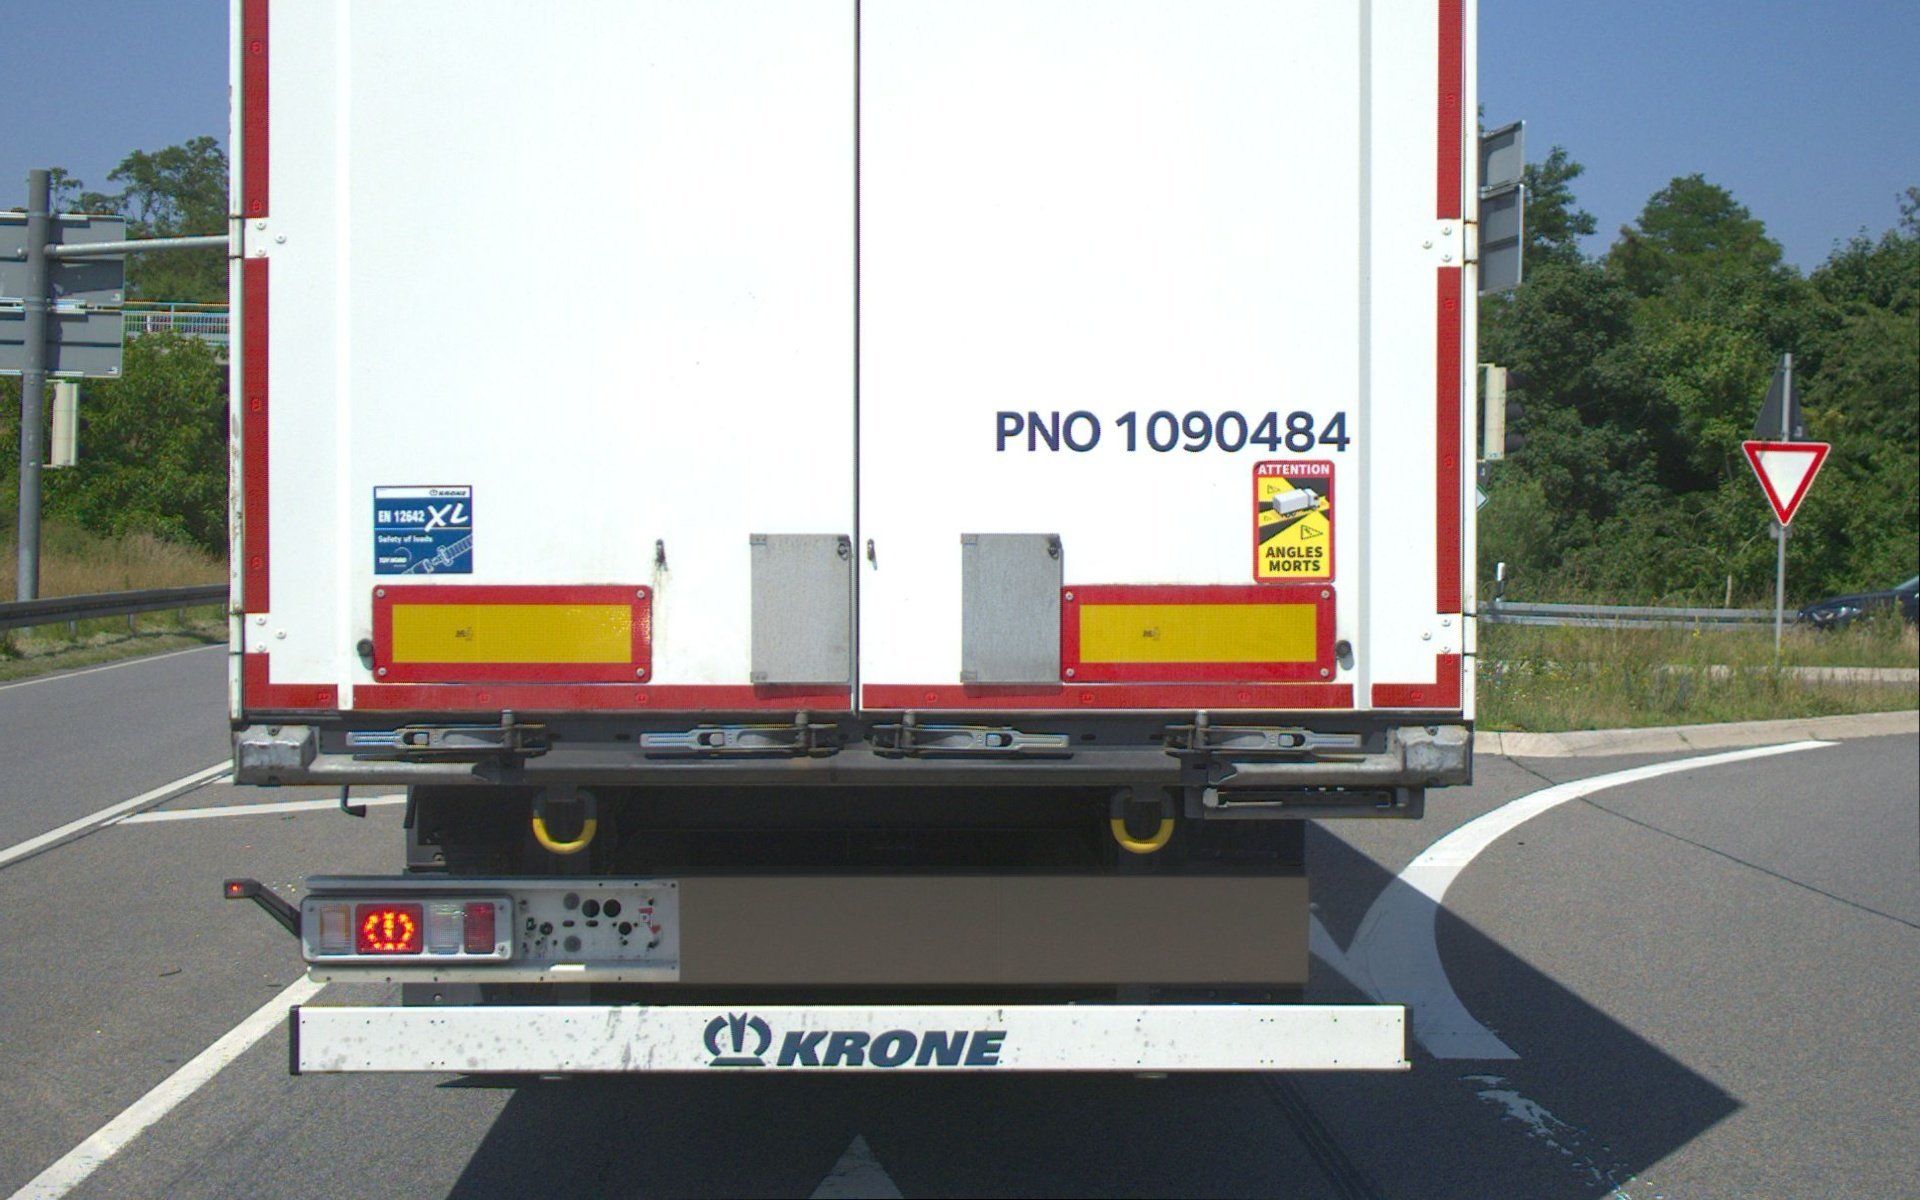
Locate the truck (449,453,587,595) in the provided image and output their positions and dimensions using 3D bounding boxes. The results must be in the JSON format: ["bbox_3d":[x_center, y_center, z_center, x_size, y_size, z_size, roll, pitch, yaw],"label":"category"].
[{"bbox_3d":[-11.443,-1.920,89.615,2.644,3.526,7.890,1,0,-1],"label":"truck"}]

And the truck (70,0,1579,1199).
[{"bbox_3d":[-0.365,-0.657,11.784,2.987,3.928,9.876,1,1,-1],"label":"truck"}]

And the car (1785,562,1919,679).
[{"bbox_3d":[13.511,0.277,45.845,4.684,1.508,1.853,1,0,7],"label":"car"}]

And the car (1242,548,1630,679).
[{"bbox_3d":[5.972,0.167,43.220,4.485,1.592,1.768,0,0,-15],"label":"car"}]
